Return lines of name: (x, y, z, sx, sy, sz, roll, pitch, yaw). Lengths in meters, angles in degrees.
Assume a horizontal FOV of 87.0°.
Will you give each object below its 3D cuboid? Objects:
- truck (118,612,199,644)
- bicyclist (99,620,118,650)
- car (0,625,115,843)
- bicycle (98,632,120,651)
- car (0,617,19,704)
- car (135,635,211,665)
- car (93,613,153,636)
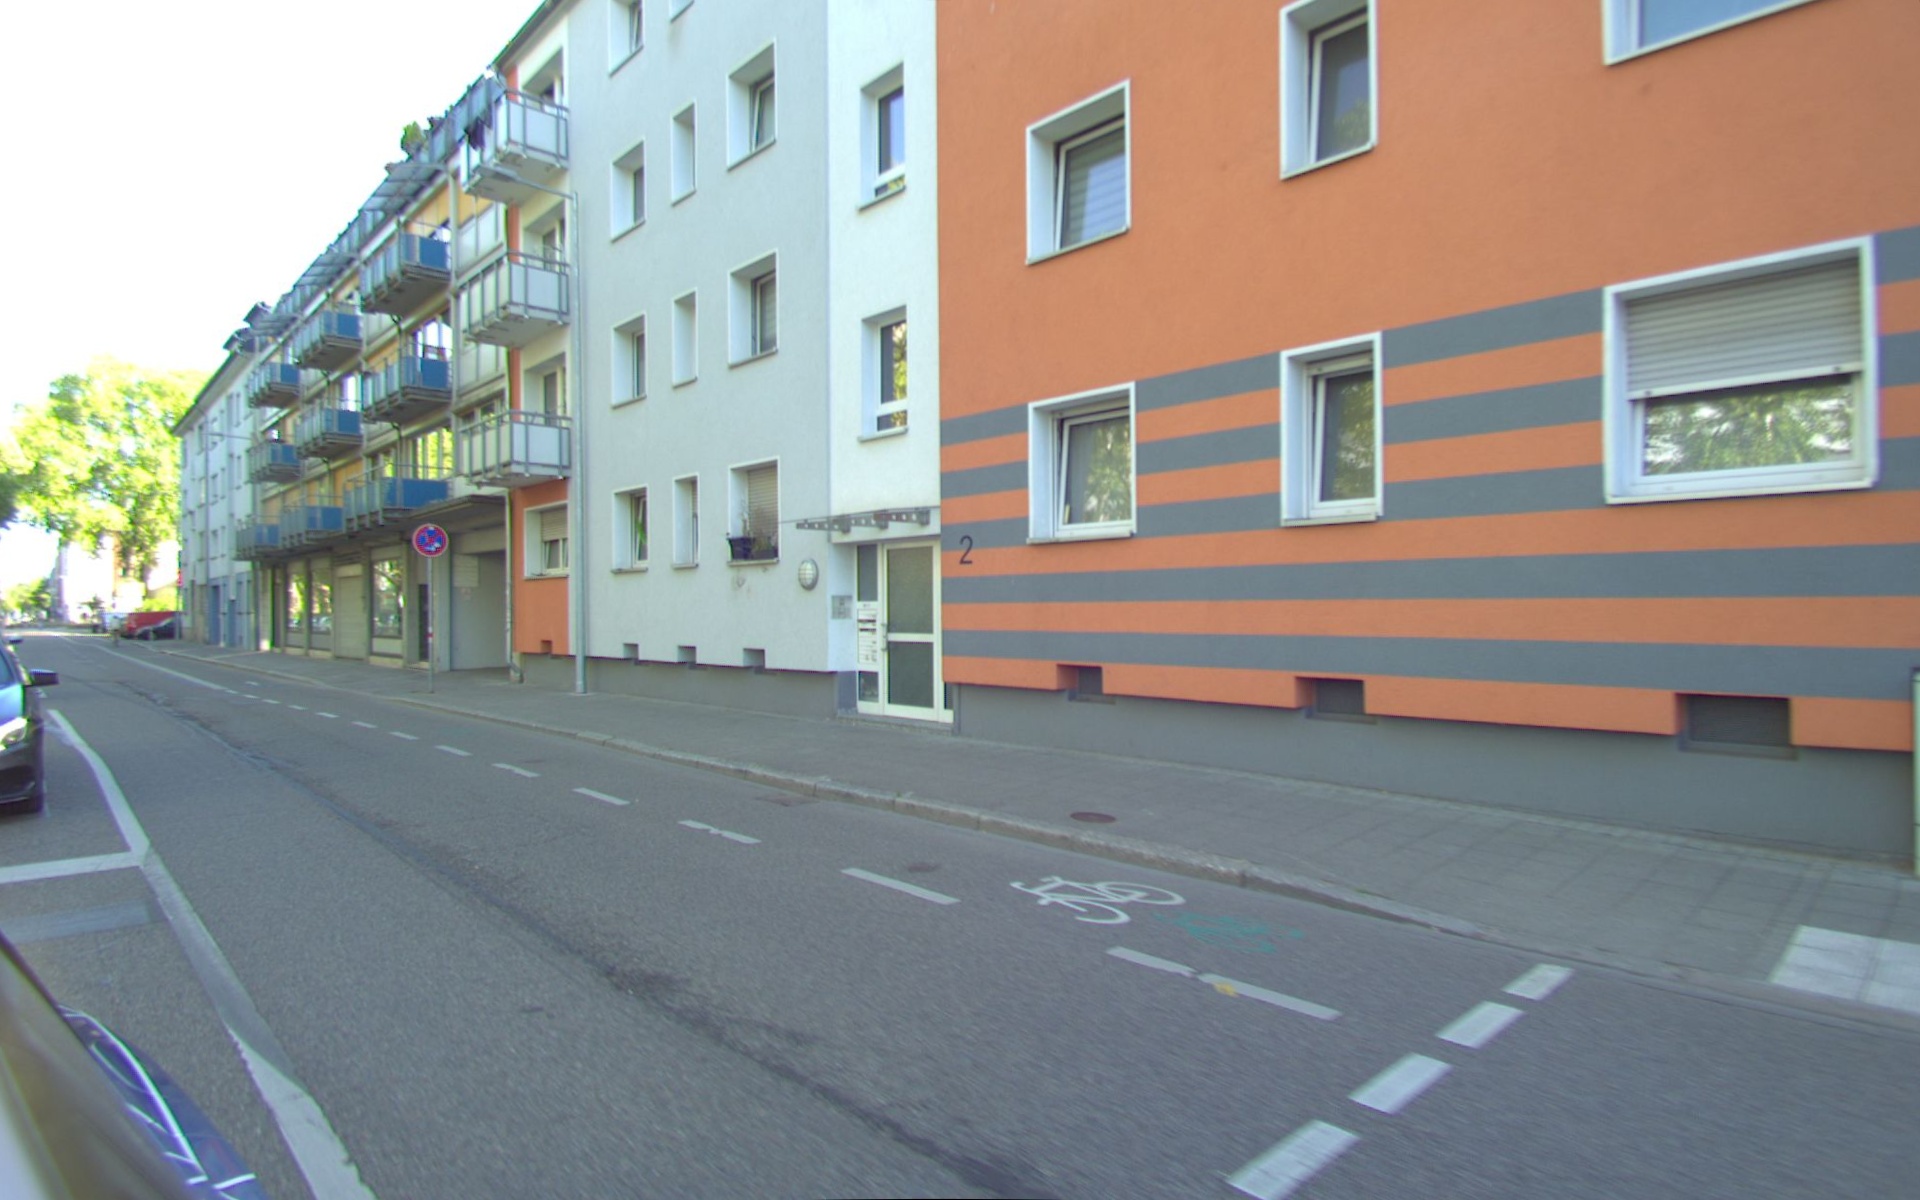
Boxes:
truck: (-57.620, 2.004, 72.796, 1.878, 2.174, 4.343, -1, 0, 44)
bicyclist: (-46.480, 1.896, 55.244, 0.682, 1.643, 0.759, 1, -2, -45)
car: (-8.689, 0.974, 8.597, 1.770, 1.479, 4.732, 1, -1, -33)
bicycle: (-46.444, 2.238, 55.211, 0.682, 0.994, 2.633, 1, -1, -45)
car: (-19.774, 1.151, 19.872, 1.721, 1.616, 4.006, 0, -1, -40)
car: (-53.752, 3.371, 69.152, 1.832, 1.849, 3.942, -1, 0, 44)
car: (-75.206, 2.183, 90.964, 2.001, 2.029, 3.942, -1, 0, 44)
